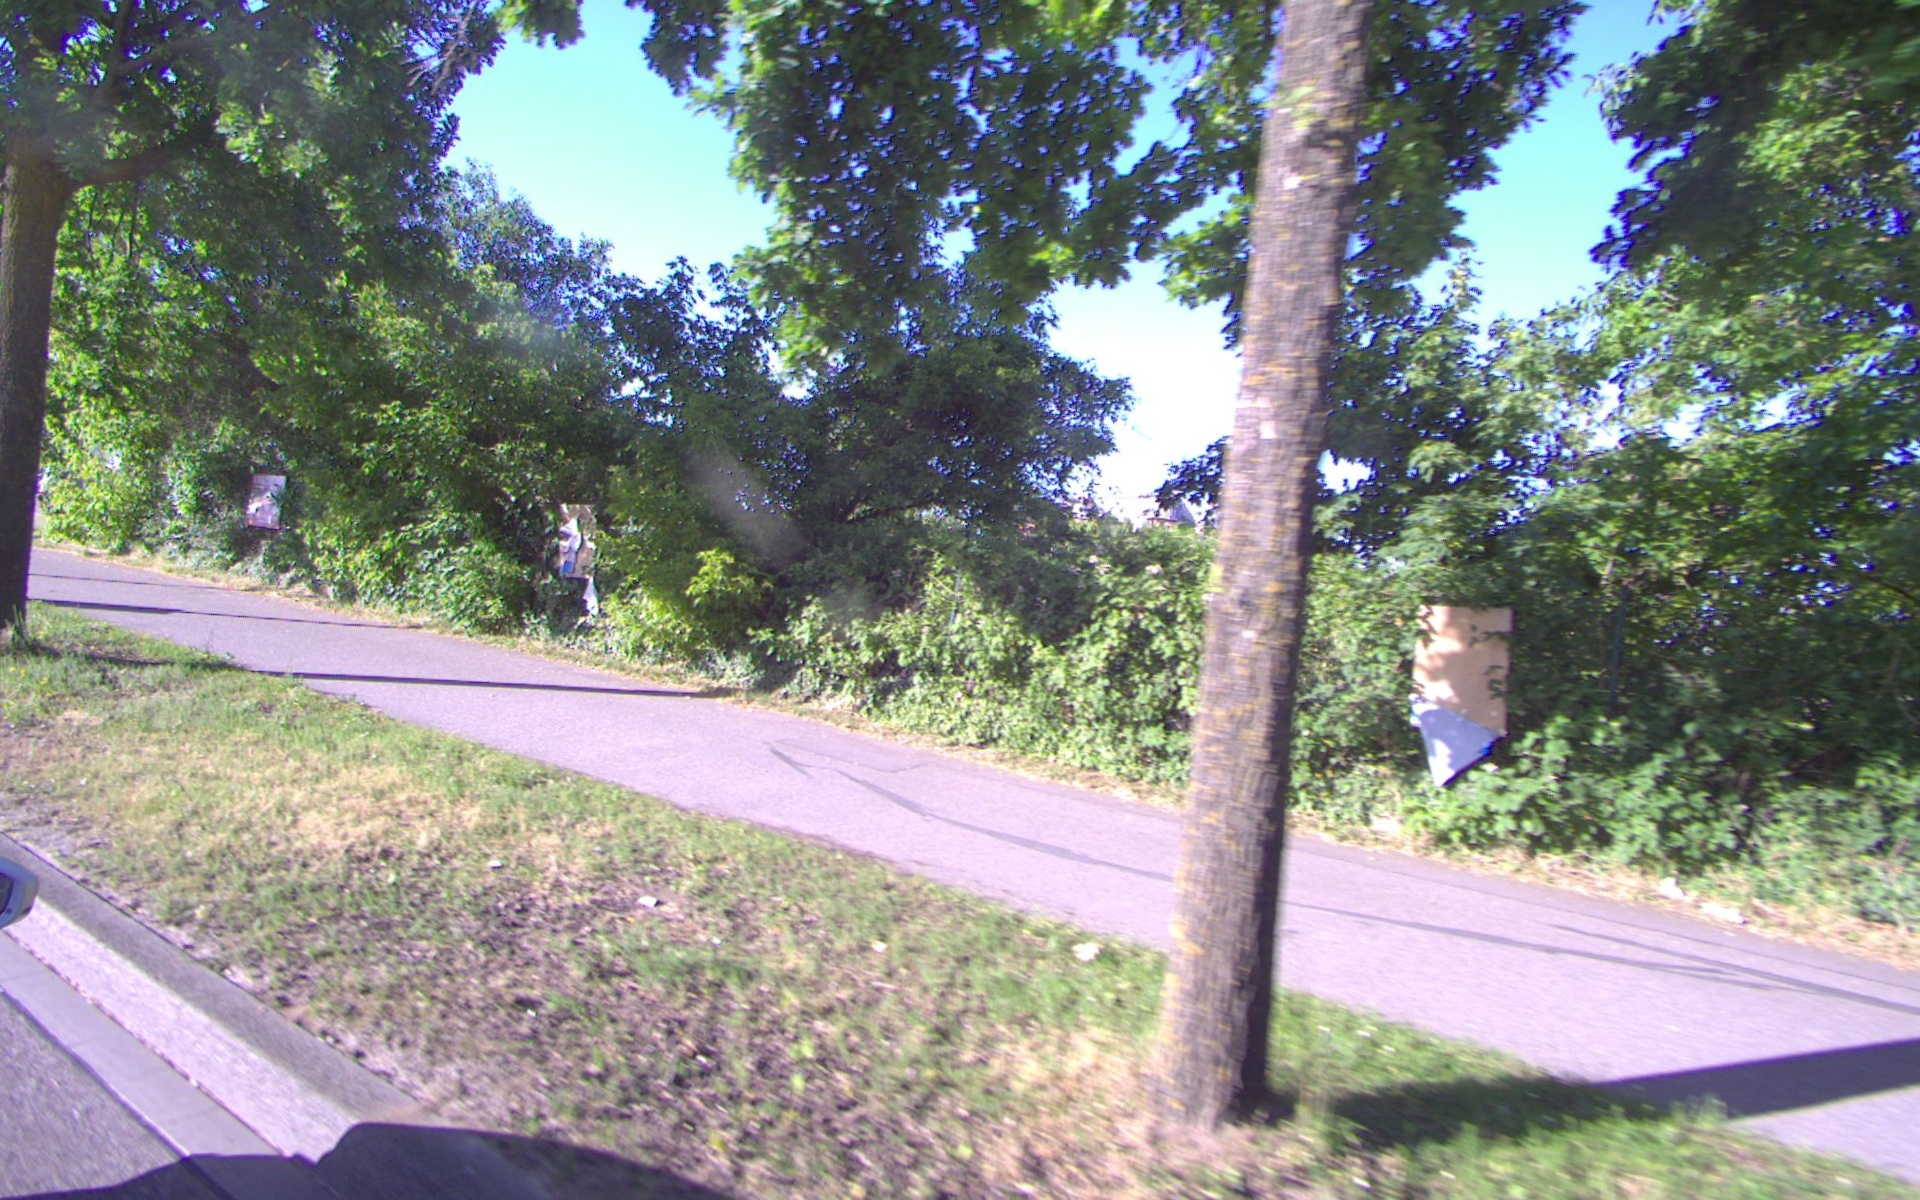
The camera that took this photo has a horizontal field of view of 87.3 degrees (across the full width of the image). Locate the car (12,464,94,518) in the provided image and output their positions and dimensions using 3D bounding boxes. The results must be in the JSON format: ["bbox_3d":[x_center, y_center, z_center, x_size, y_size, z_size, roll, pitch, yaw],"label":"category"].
[{"bbox_3d":[-38.821,-4.656,43.026,4.687,1.920,1.994,6,0,42],"label":"car"}]
